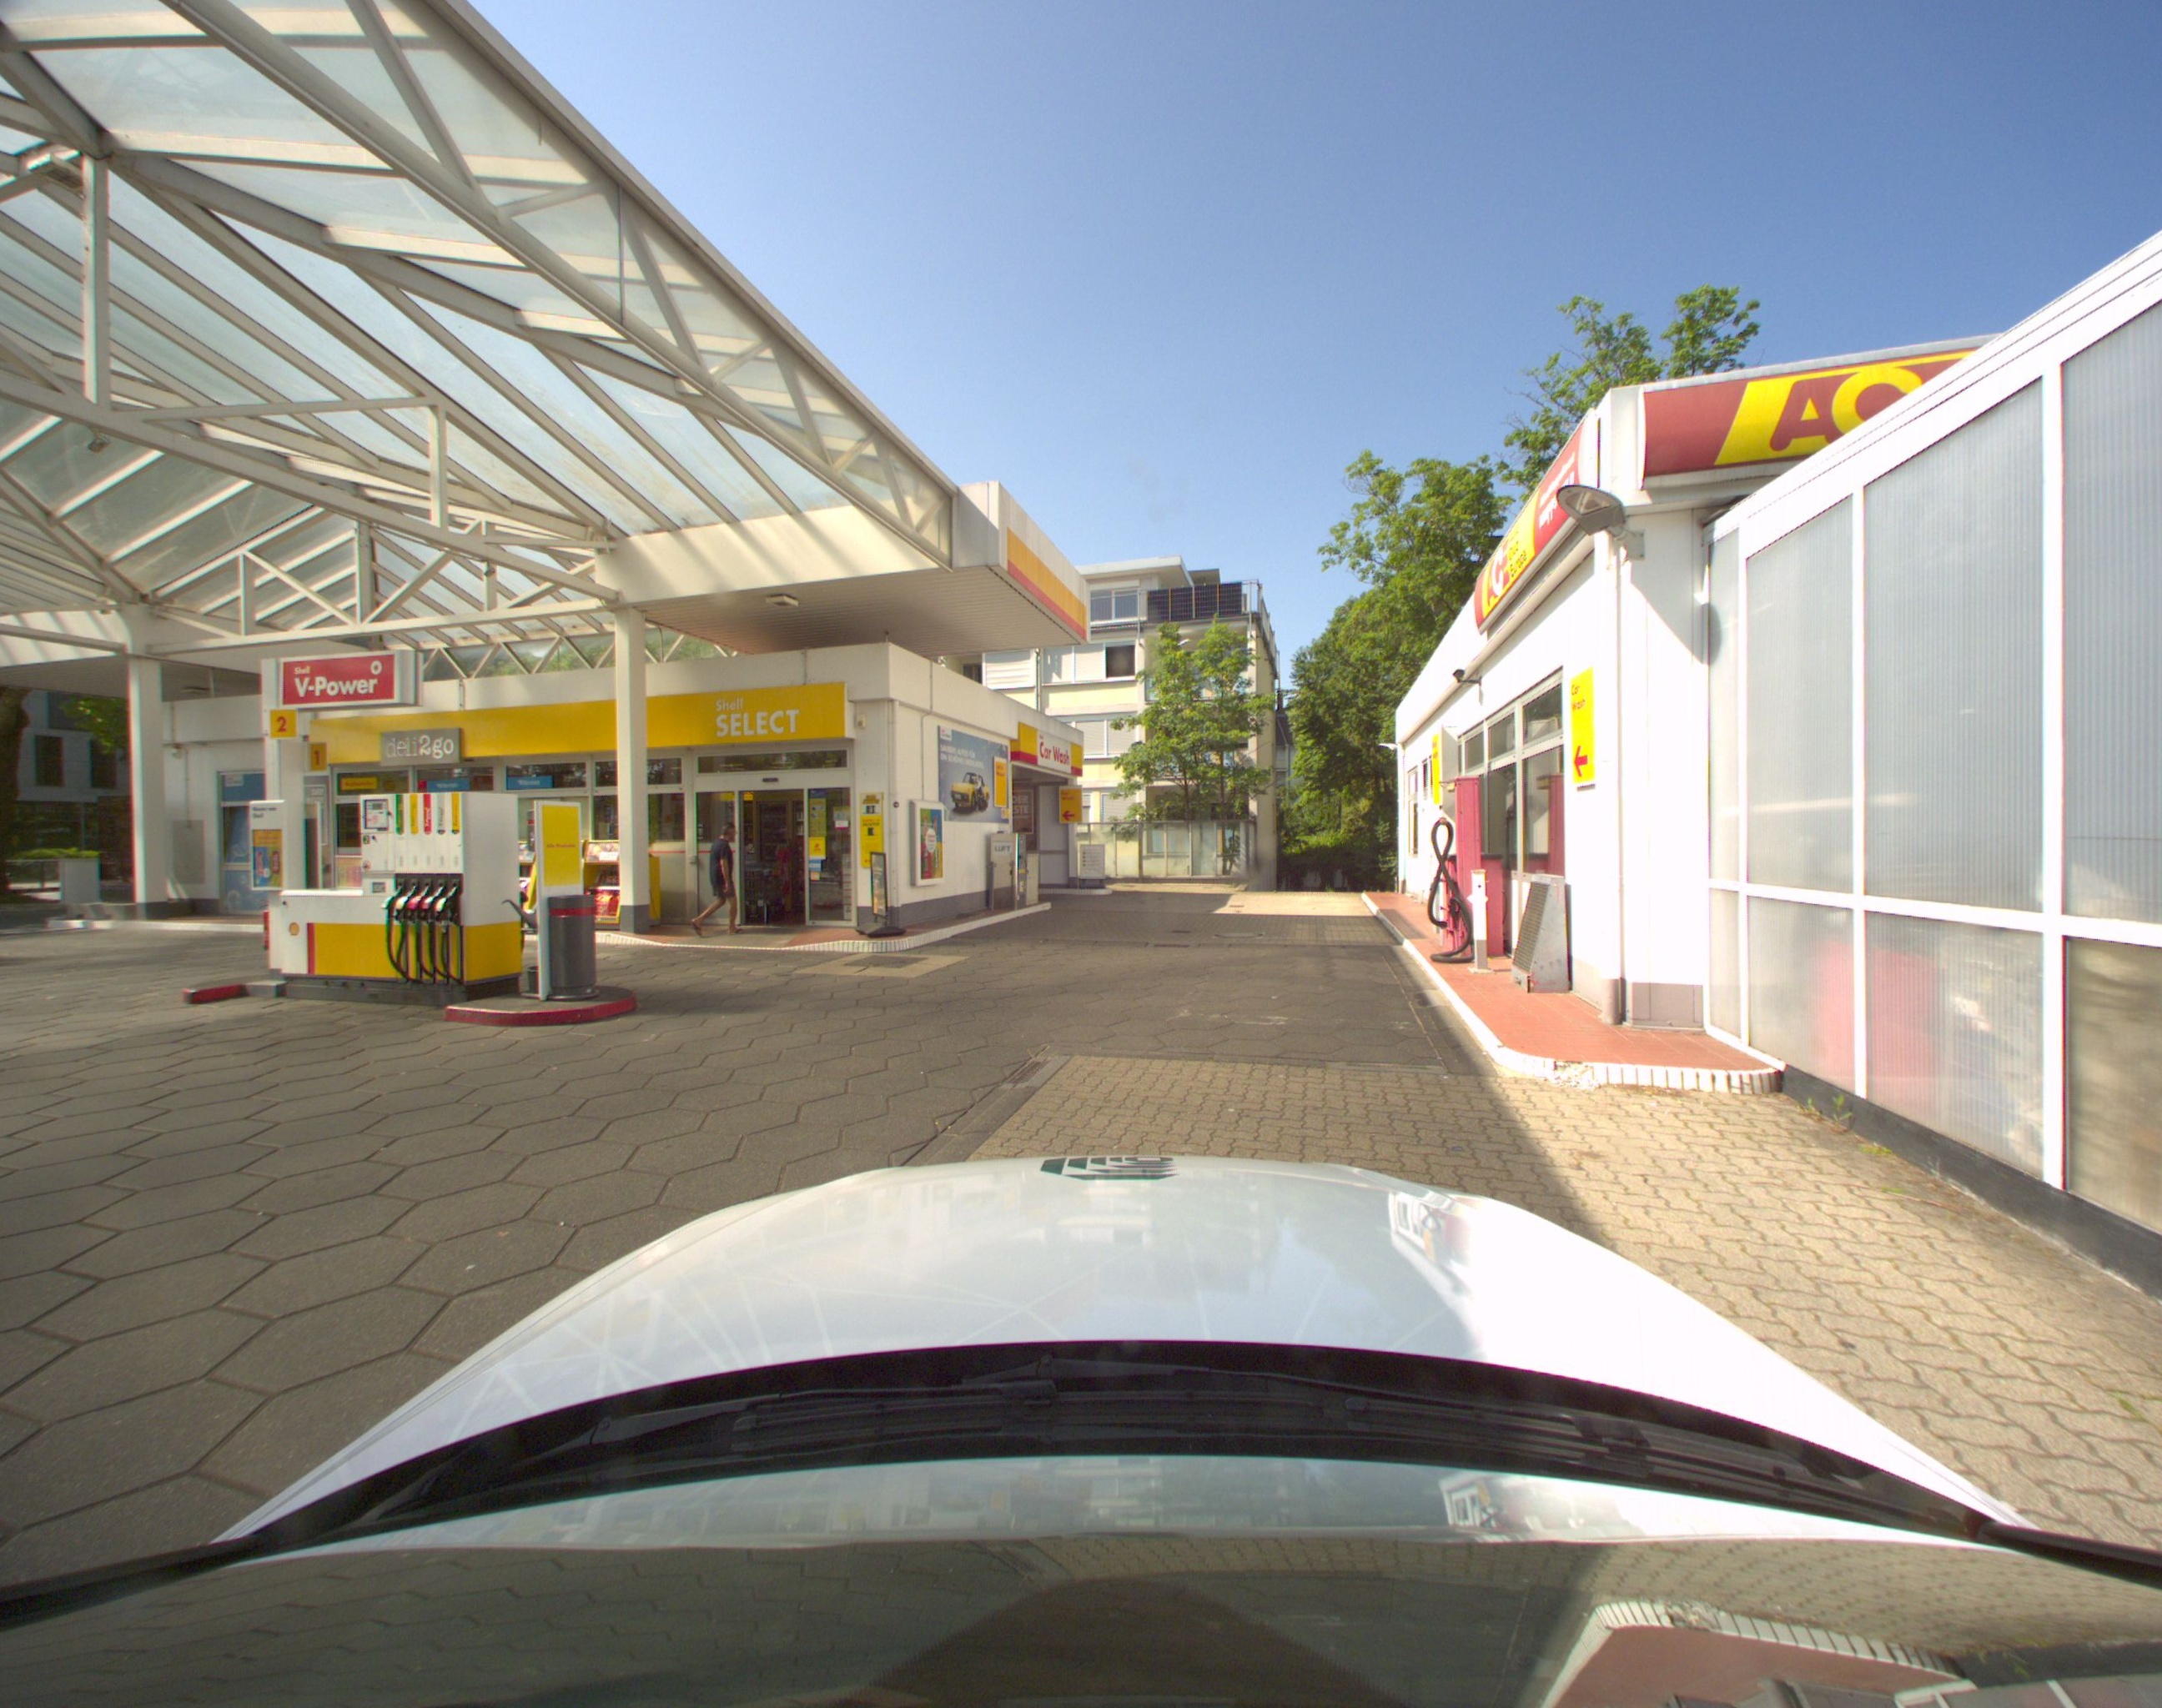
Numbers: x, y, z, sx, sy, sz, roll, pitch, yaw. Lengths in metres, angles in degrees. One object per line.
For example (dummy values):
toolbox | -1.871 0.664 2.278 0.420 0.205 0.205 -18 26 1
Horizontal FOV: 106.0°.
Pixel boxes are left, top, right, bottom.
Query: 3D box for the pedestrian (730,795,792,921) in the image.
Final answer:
pedestrian | -5.249 0.058 13.384 0.618 2.013 0.744 -1 1 7

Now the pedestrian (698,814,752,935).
pedestrian | -5.307 0.300 12.152 0.570 1.761 0.529 -1 0 -5
